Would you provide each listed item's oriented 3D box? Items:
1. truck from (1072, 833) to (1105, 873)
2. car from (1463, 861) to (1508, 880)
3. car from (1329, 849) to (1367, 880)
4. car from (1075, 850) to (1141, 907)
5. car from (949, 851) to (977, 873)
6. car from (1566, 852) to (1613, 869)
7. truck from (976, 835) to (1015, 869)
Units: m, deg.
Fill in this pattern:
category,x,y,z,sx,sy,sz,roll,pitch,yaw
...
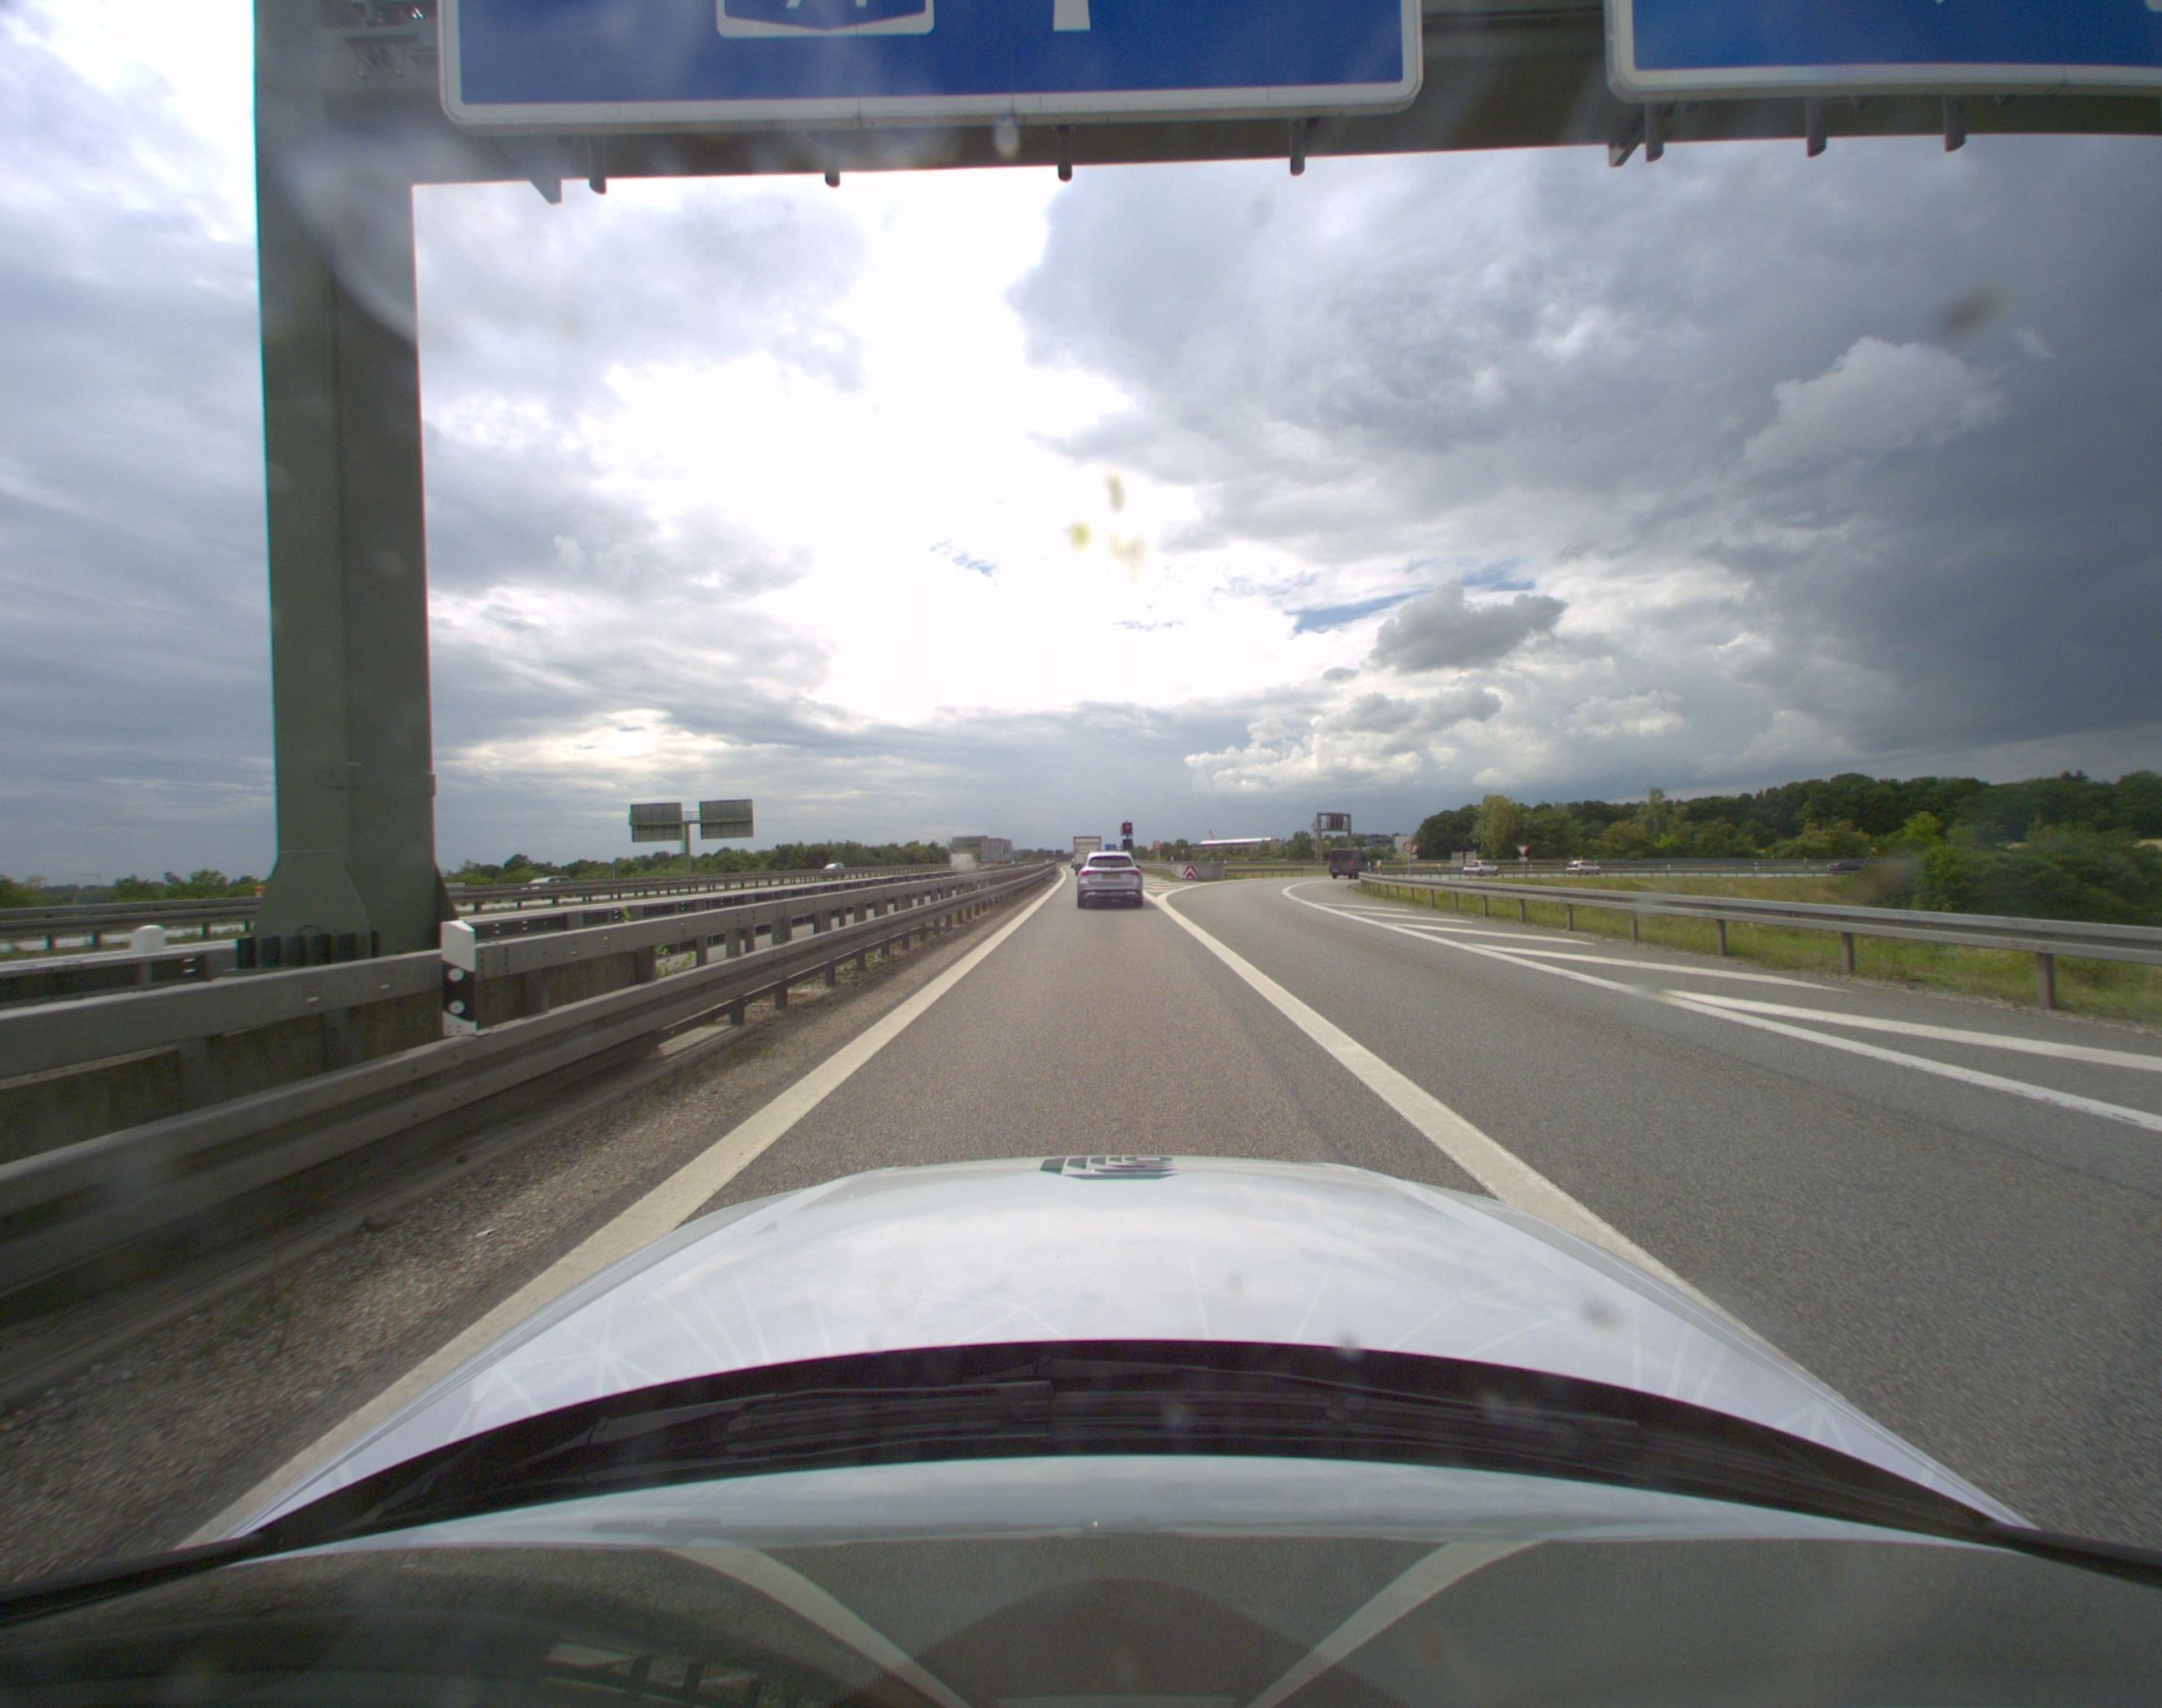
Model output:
category,x,y,z,sx,sy,sz,roll,pitch,yaw
truck,0.689,-0.015,68.729,2.560,3.126,8.635,-1,-1,1
car,40.838,1.650,82.297,4.005,1.709,1.984,-1,1,-24
car,21.084,0.772,64.101,1.888,2.261,4.678,0,1,30
car,0.808,0.669,24.421,1.812,1.514,4.002,-1,1,2
car,-11.774,0.776,81.421,1.986,2.013,4.376,-1,1,2
car,54.796,0.647,87.804,3.988,1.709,1.993,-1,1,-11
truck,-10.913,-0.322,105.793,3.172,4.018,16.077,-1,1,1
